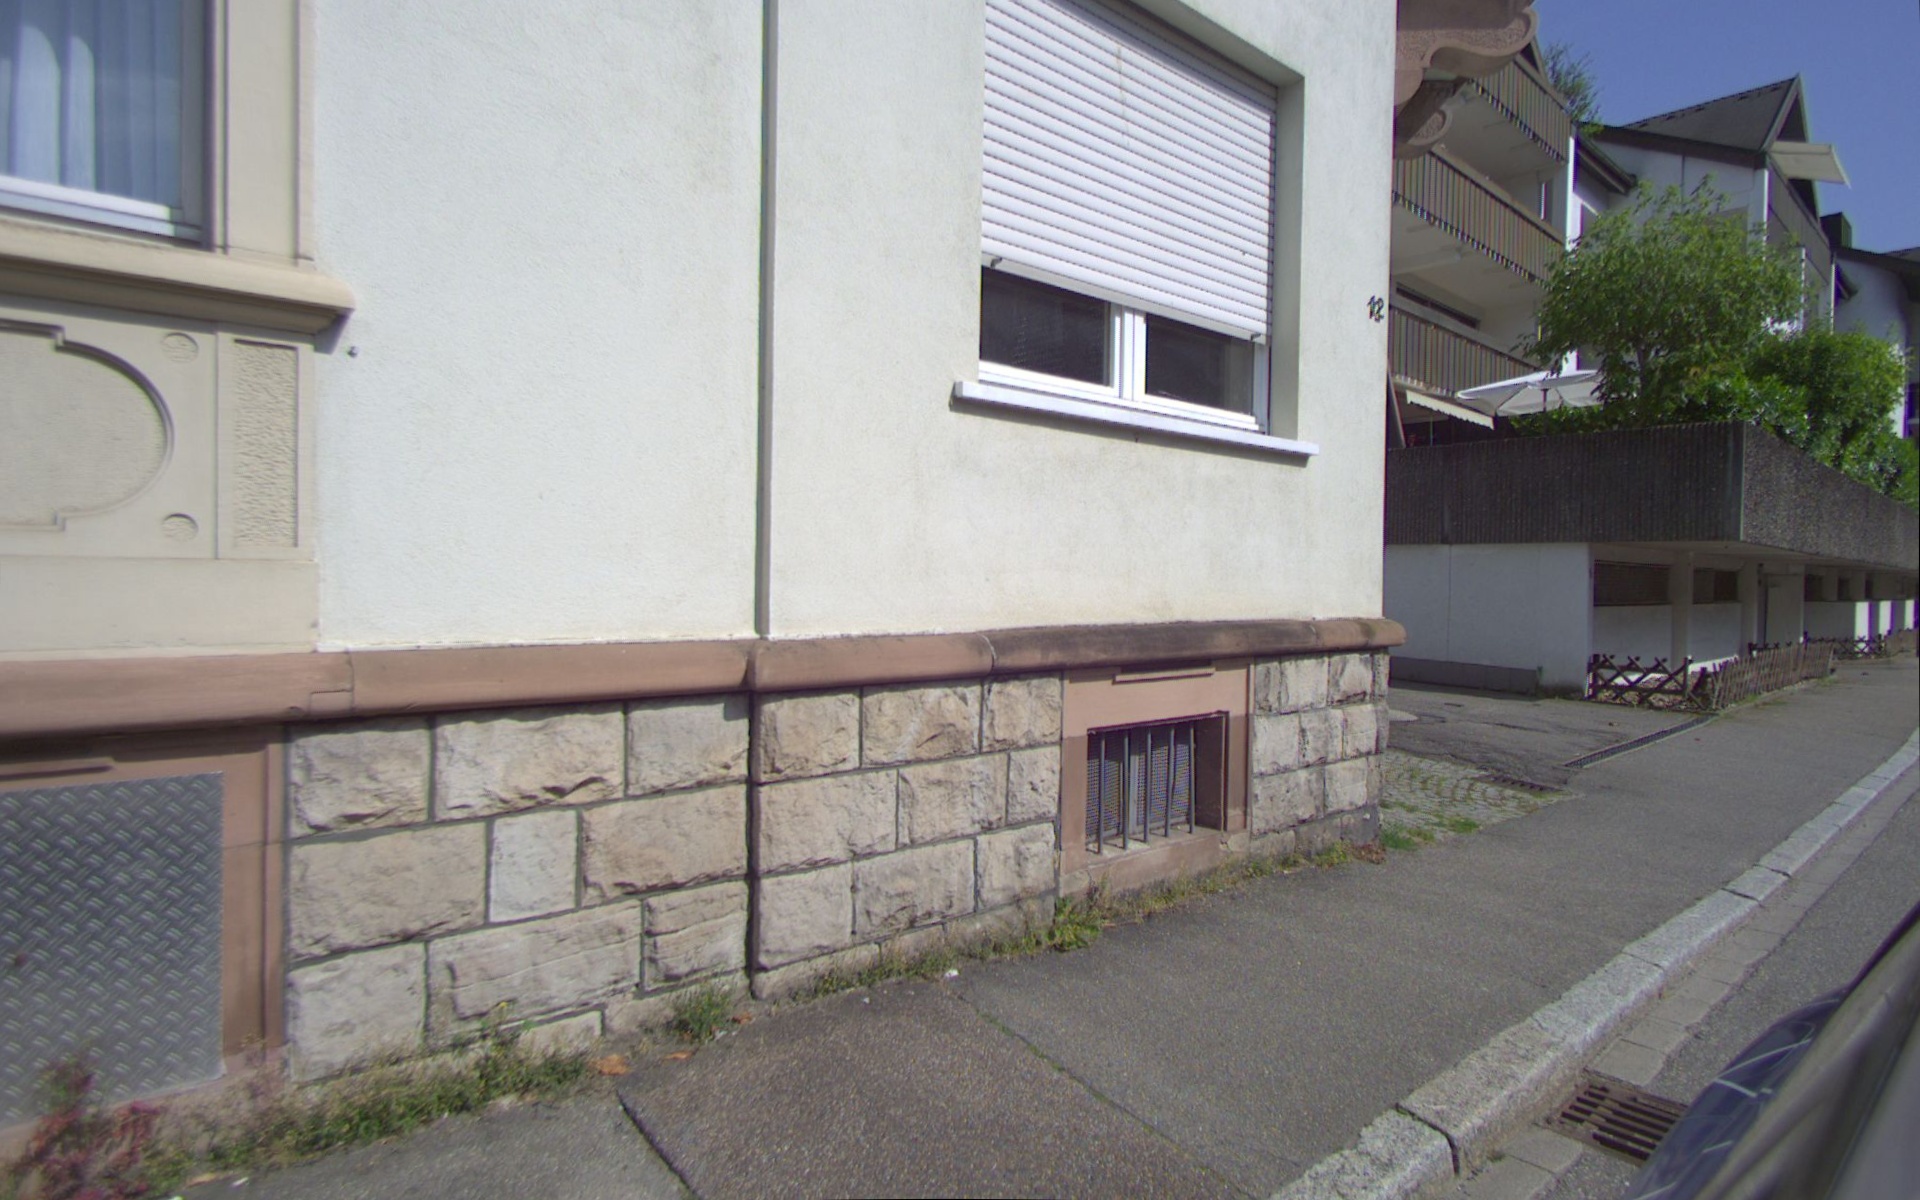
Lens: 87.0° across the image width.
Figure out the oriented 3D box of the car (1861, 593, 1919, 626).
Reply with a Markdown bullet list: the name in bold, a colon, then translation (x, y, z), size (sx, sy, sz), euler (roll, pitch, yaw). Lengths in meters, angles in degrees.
- **car**: translation (44.166, 0.453, 46.636), size (1.672, 1.498, 3.830), euler (1, -1, -43)
